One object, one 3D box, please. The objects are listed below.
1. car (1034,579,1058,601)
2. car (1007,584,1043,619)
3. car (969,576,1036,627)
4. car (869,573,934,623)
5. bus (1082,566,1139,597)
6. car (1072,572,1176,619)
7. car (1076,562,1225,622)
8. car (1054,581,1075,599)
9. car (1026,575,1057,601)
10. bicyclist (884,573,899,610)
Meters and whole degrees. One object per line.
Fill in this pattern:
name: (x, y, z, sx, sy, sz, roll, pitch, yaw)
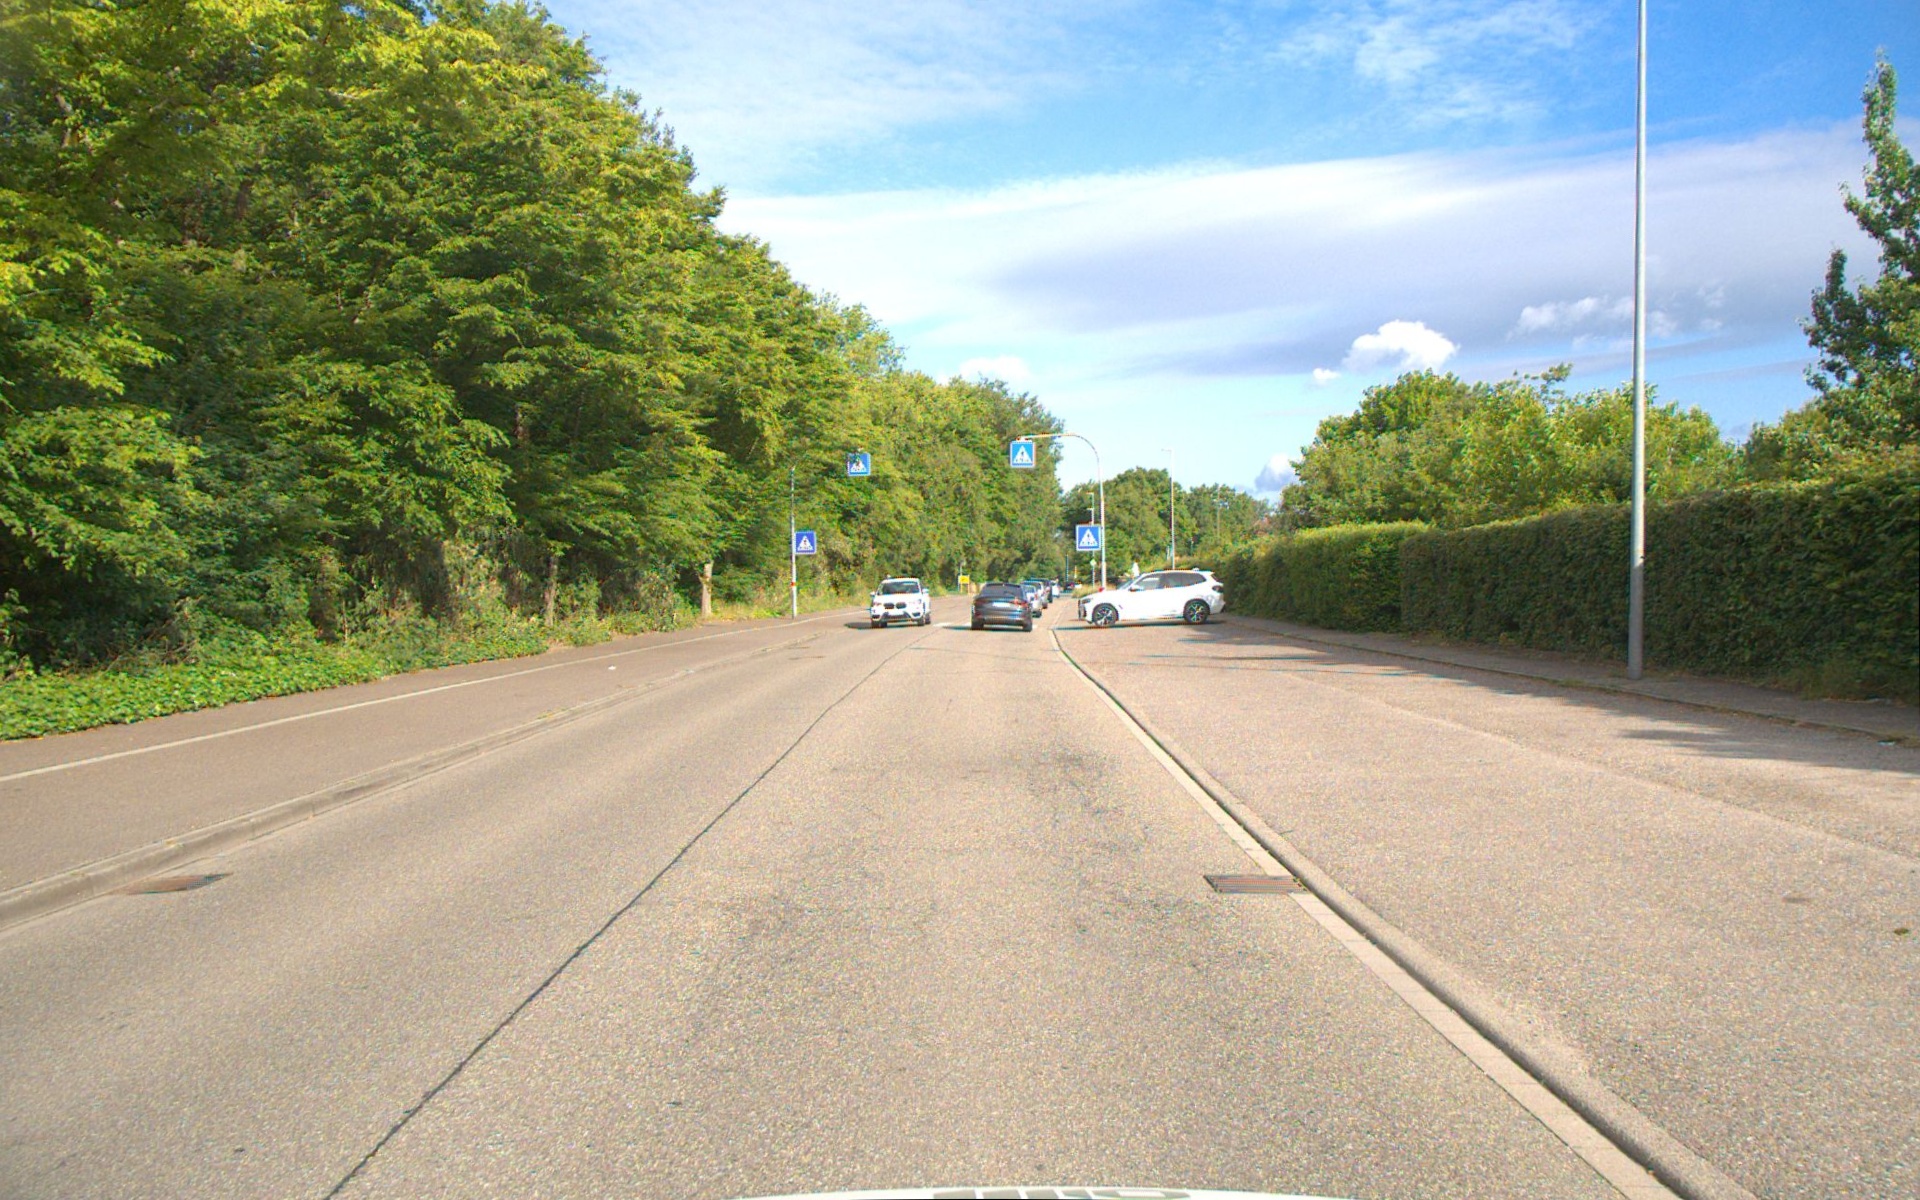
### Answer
car: (5.577, -0.636, 107.018, 1.463, 1.390, 3.264, -1, 1, 4)
car: (2.735, 0.055, 69.017, 1.464, 1.390, 3.263, -1, 1, 3)
car: (1.250, 0.014, 50.295, 1.926, 1.459, 4.336, 1, 1, 0)
car: (-1.947, -0.071, 55.985, 1.764, 1.613, 4.104, -1, 0, 4)
bus: (14.294, -1.758, 157.307, 5.254, 2.794, 2.069, -2, 1, 2)
car: (6.182, -0.192, 62.662, 3.777, 1.516, 1.693, -3, 2, 2)
car: (5.894, -0.239, 51.568, 4.491, 1.729, 1.764, -2, 0, 5)
car: (8.484, -0.807, 133.736, 1.463, 1.390, 3.265, -1, 1, 8)
car: (4.321, -0.667, 87.355, 1.463, 1.327, 3.264, -1, 1, 5)
bicyclist: (-3.223, -0.414, 77.823, 0.596, 1.706, 0.884, 1, 0, 5)
